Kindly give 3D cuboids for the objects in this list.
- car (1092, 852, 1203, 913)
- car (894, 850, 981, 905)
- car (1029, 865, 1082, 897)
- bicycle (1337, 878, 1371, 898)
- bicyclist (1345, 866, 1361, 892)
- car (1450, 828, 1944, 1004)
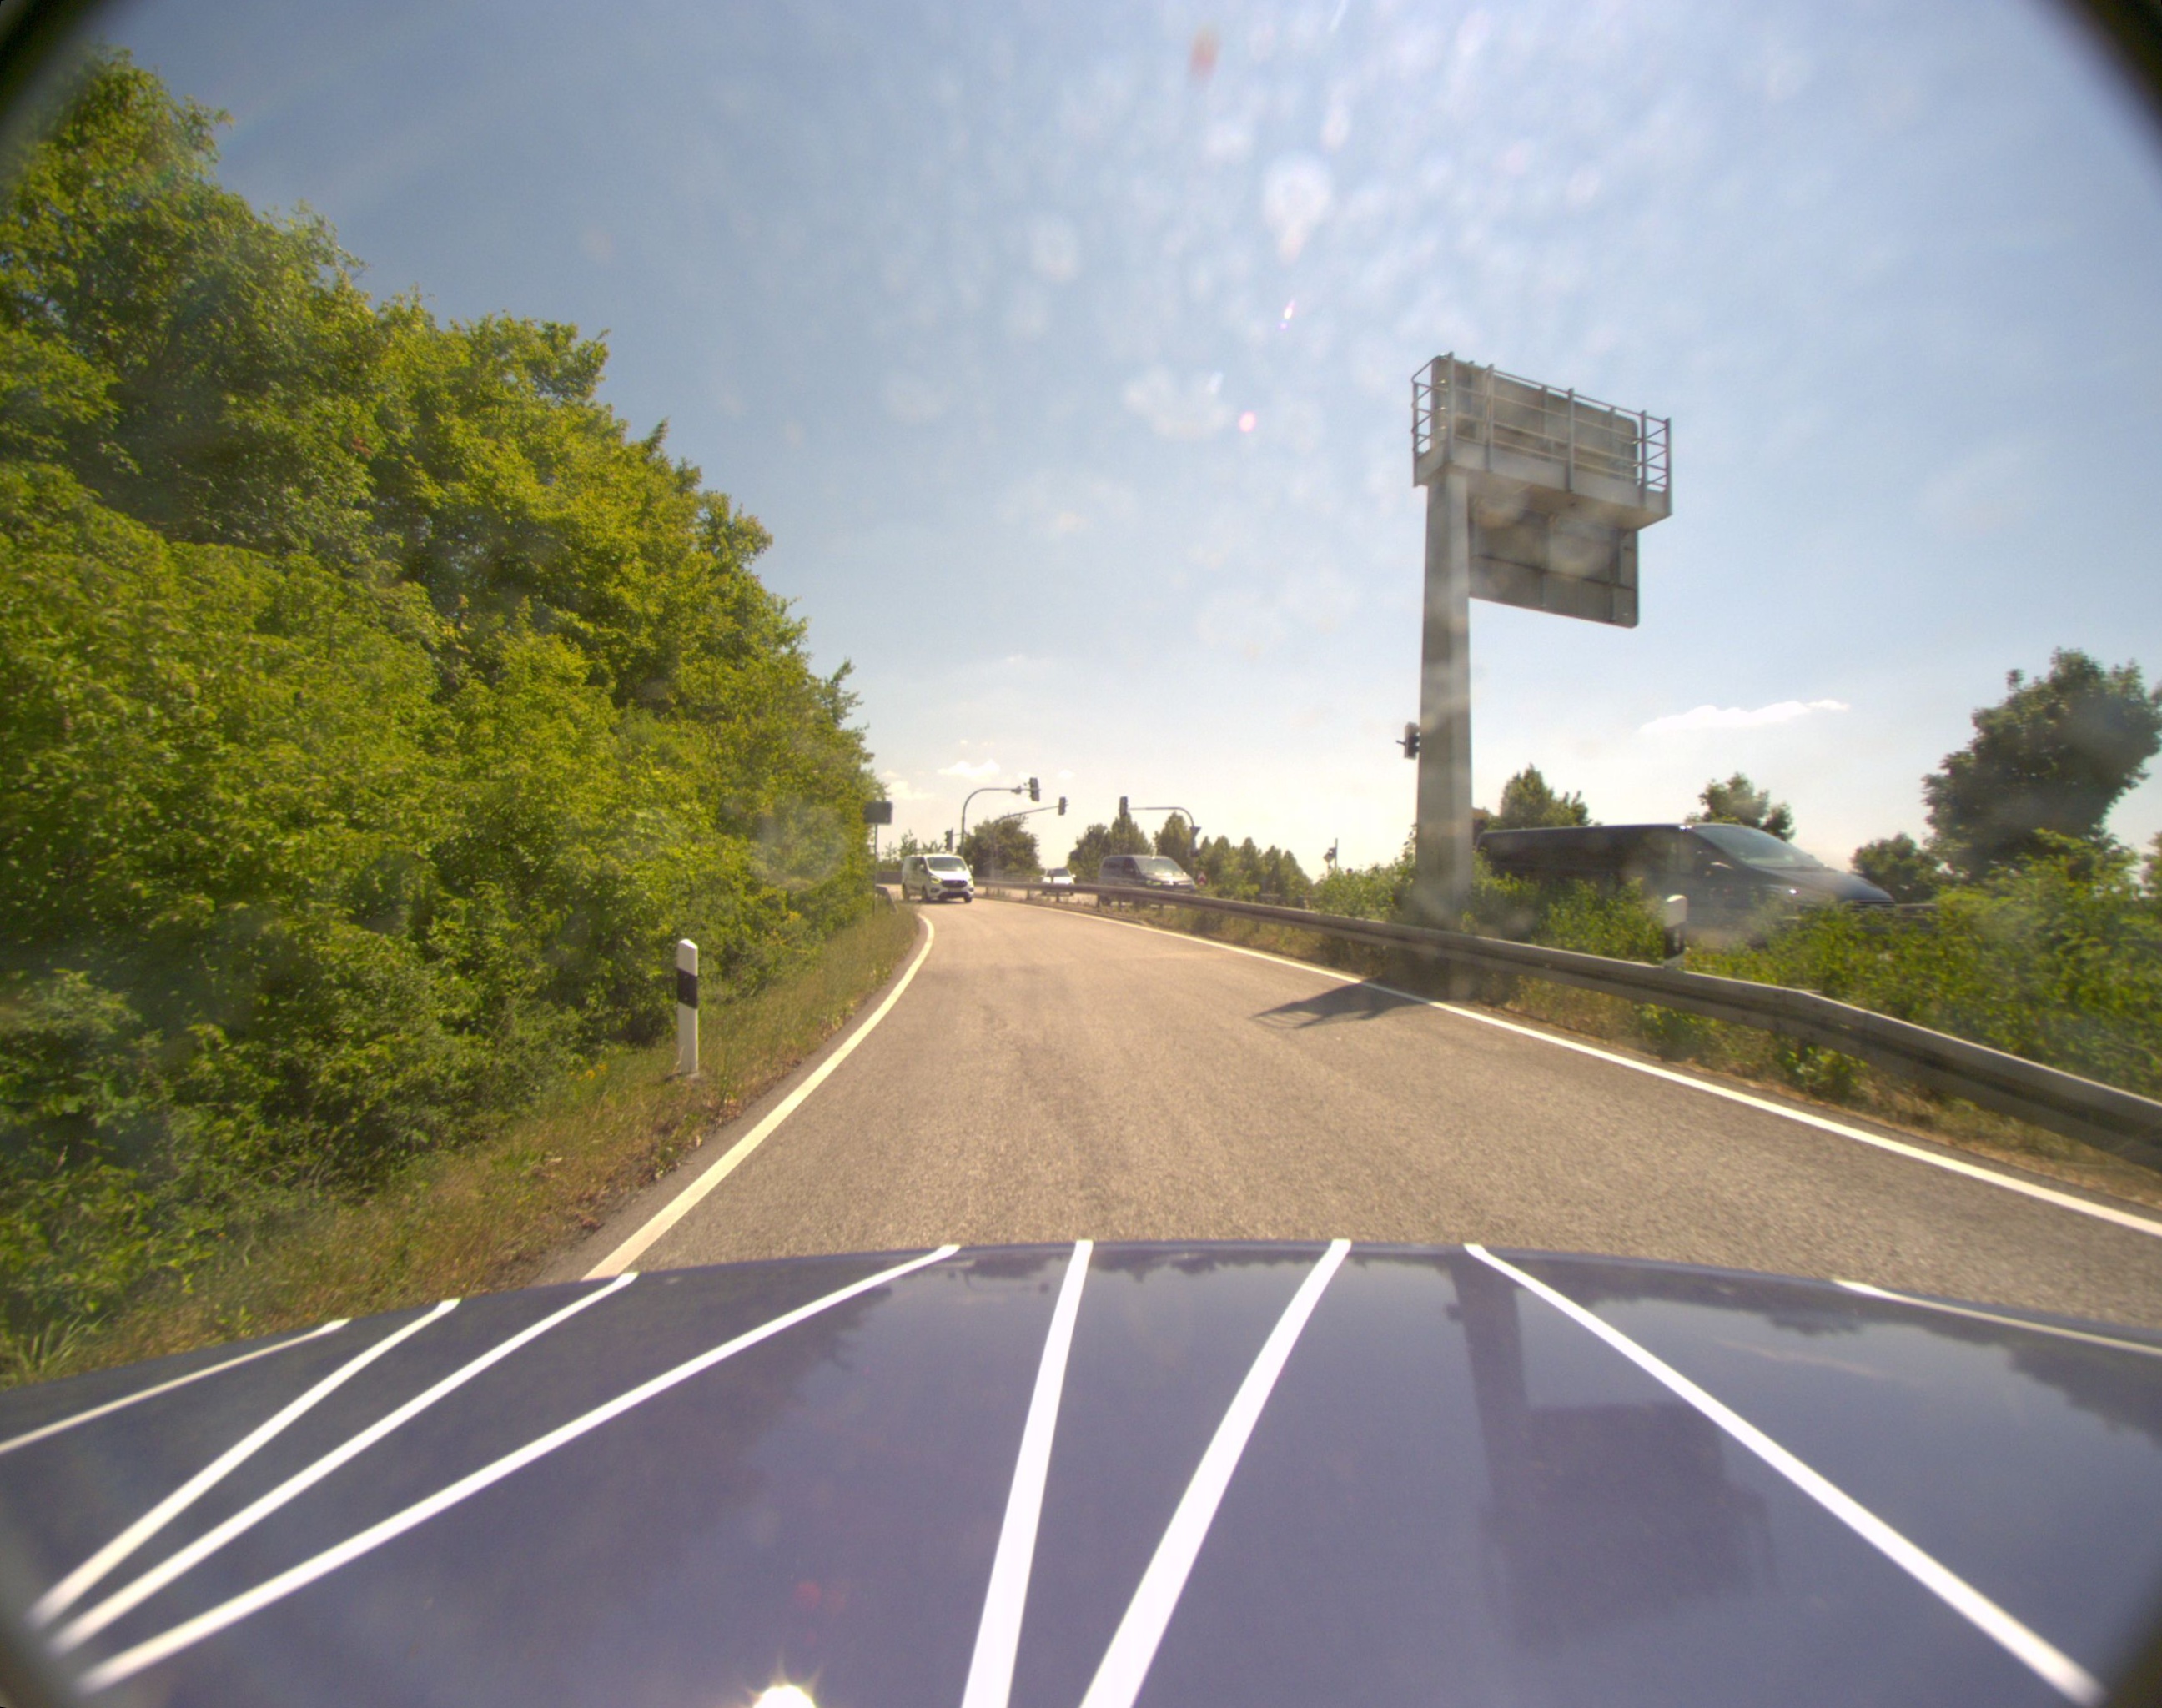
[{"bbox_3d":[2.233,0.948,26.973,1.948,1.907,4.524,4,-2,-23],"label":"car"},{"bbox_3d":[-6.280,0.999,32.583,2.035,2.072,5.860,-2,-1,-27],"label":"car"},{"bbox_3d":[-1.483,1.456,41.983,1.792,1.542,3.854,-2,1,-20],"label":"car"},{"bbox_3d":[15.109,1.867,42.089,0.416,1.018,1.827,0,-1,-39],"label":"bicycle"},{"bbox_3d":[15.070,1.379,42.131,0.409,1.396,0.683,0,0,-39],"label":"bicyclist"},{"bbox_3d":[8.506,0.685,11.357,2.128,1.926,5.401,-2,1,-20],"label":"car"}]
